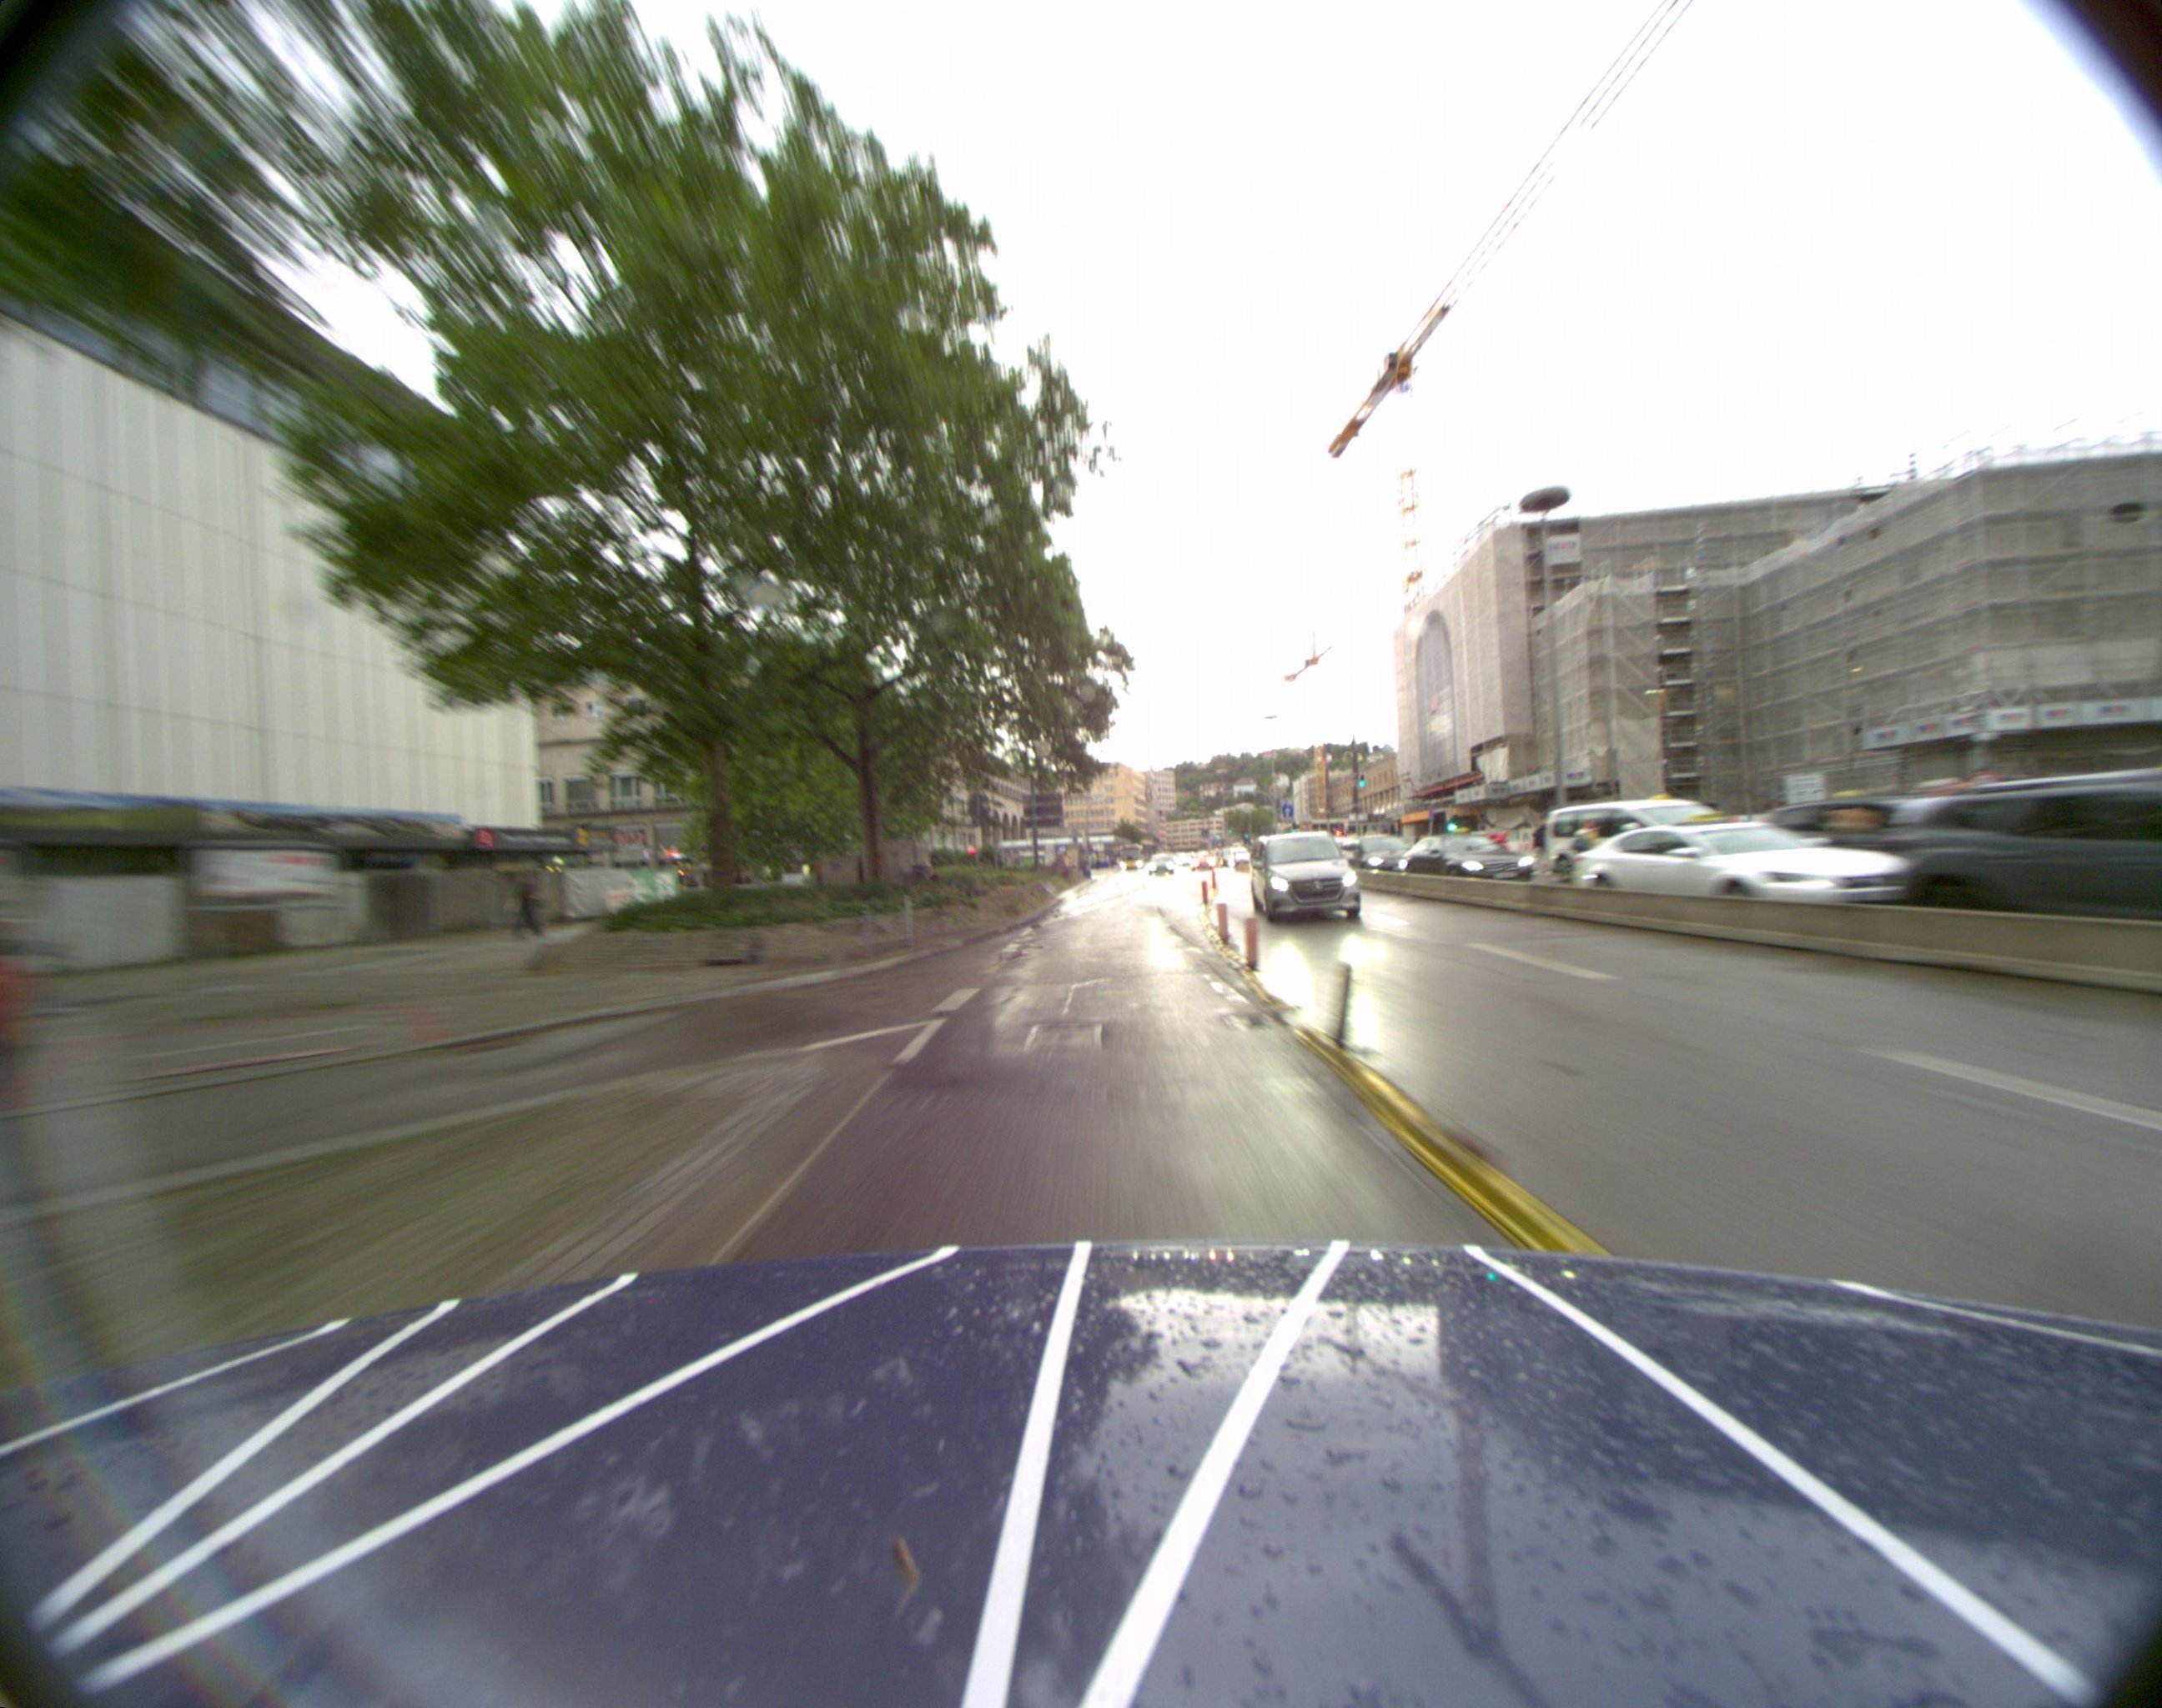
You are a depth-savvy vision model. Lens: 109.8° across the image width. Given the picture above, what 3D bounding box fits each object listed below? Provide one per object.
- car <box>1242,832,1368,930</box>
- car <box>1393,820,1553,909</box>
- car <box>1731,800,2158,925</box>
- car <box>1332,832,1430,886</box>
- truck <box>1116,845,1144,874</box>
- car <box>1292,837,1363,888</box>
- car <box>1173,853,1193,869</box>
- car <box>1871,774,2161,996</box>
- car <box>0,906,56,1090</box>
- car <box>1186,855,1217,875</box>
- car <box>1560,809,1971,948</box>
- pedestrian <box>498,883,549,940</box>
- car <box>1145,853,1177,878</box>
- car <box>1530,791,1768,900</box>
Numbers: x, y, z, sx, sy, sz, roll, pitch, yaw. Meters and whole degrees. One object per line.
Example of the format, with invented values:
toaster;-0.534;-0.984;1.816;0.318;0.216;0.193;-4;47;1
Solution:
car;5.037;0.531;17.849;1.997;1.845;5.360;-4;0;8
car;10.533;0.240;20.896;1.998;2.101;4.714;-2;1;1
car;13.063;0.095;11.984;2.172;1.564;3.999;-2;1;0
car;10.570;0.132;27.166;1.998;1.707;4.756;-2;1;6
truck;6.254;0.593;97.760;3.044;3.396;8.953;-2;1;1
car;10.657;0.314;33.122;1.998;2.002;4.001;-2;1;4
car;11.878;0.759;88.388;1.764;1.698;3.999;-2;1;0
car;9.755;0.212;6.267;1.998;1.804;4.292;-2;1;0
car;-9.732;1.244;5.845;3.989;1.447;1.704;-1;1;43
car;9.862;0.868;62.426;1.814;1.529;4.249;-2;1;1
car;9.941;0.300;11.769;1.998;1.644;4.901;-2;0;1
pedestrian;-15.361;1.579;20.942;0.678;1.484;0.836;-2;1;5
car;6.054;0.857;57.840;1.998;1.753;3.999;-2;1;0
car;13.288;-0.196;18.304;2.003;2.194;4.997;-2;1;0
